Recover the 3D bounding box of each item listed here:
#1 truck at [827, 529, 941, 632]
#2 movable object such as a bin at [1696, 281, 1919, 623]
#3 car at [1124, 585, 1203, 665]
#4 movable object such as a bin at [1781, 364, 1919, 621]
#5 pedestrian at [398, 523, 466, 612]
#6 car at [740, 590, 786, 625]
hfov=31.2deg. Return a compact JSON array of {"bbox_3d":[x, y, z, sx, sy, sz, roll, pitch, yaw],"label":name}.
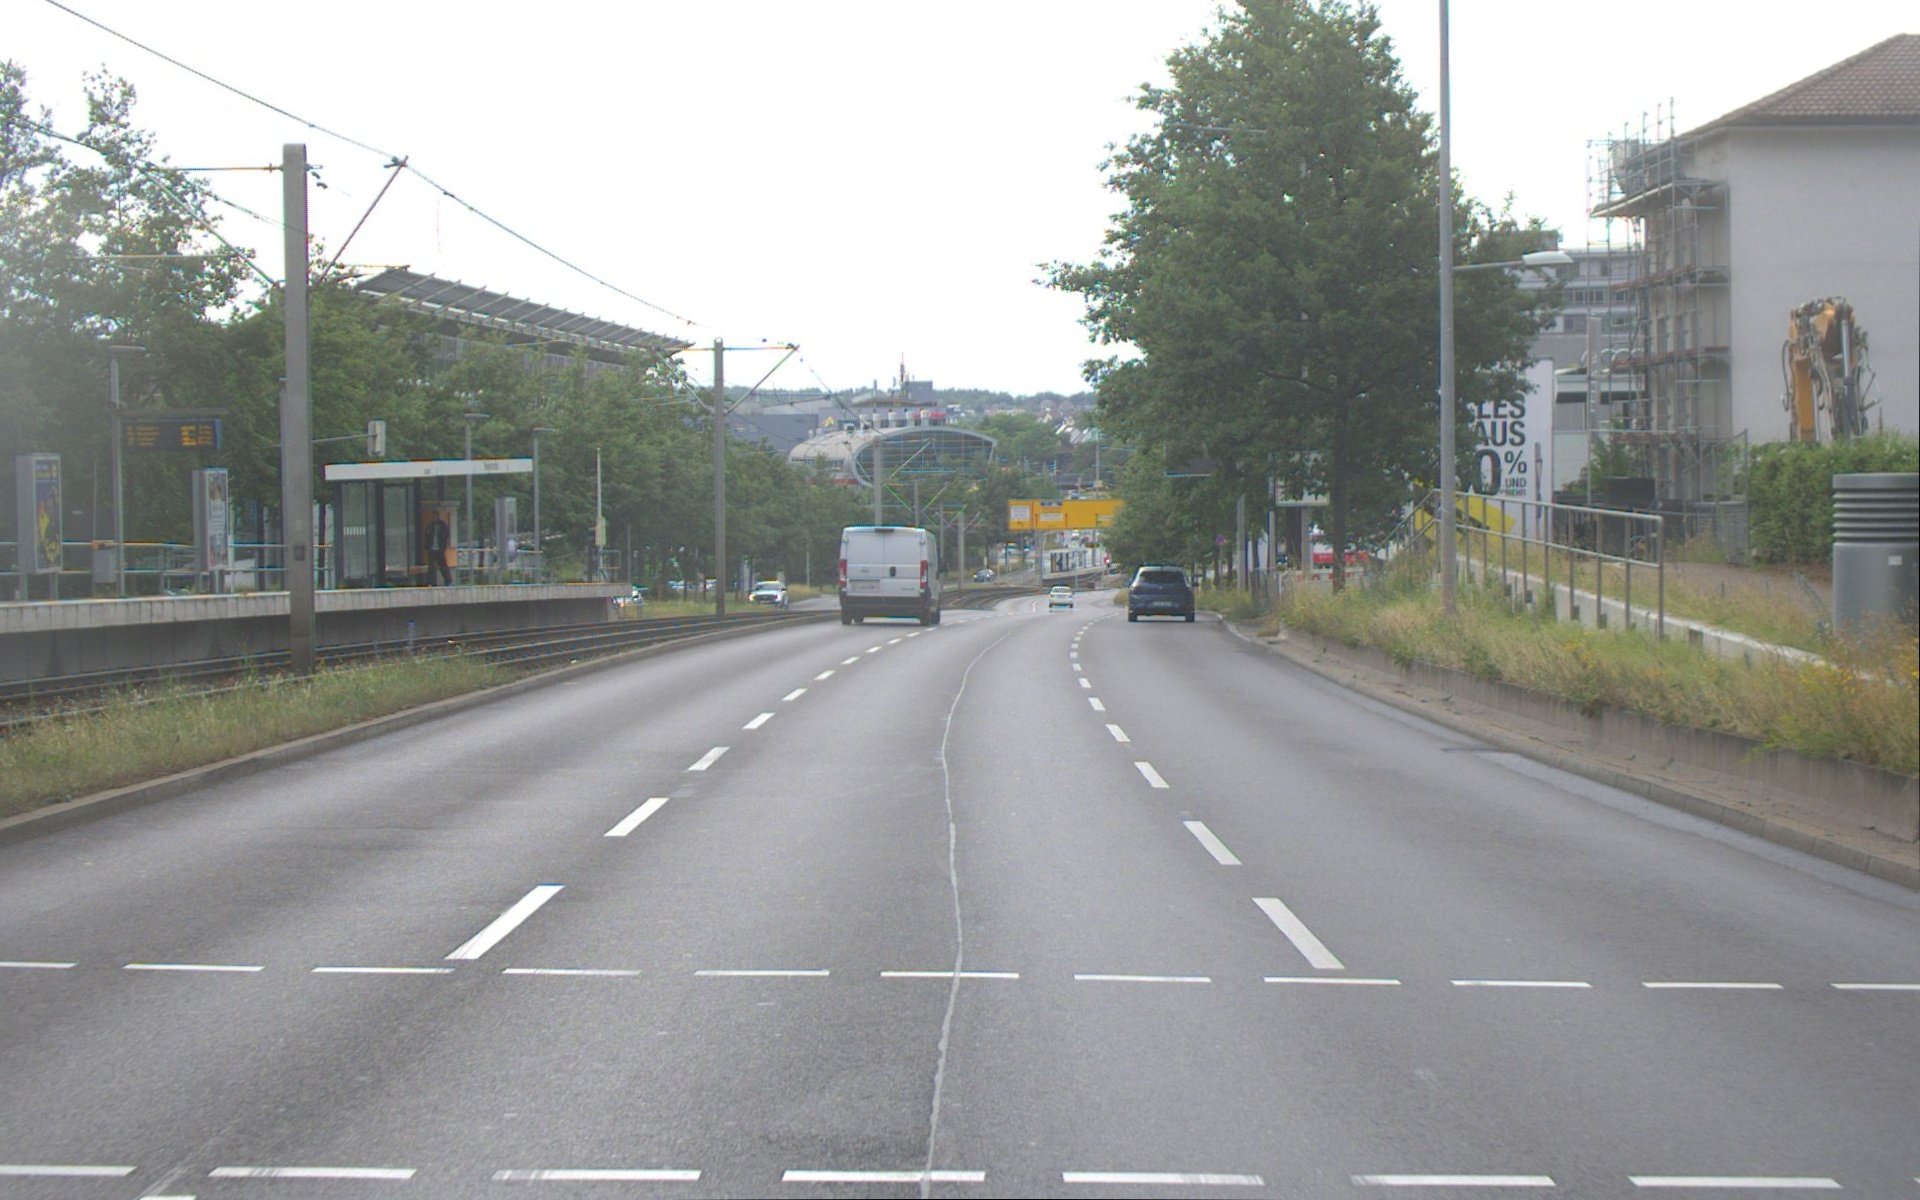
[{"bbox_3d":[-1.714,-0.423,79.637,2.360,2.254,5.305,1,0,1],"label":"truck"},{"bbox_3d":[15.669,-2.451,61.789,3.290,5.665,8.762,1,0,3],"label":"movable object such as a bin"},{"bbox_3d":[5.379,0.659,91.173,1.994,2.007,3.934,1,0,3],"label":"car"},{"bbox_3d":[23.881,-2.264,72.533,12.141,5.243,3.789,-1,0,1],"label":"movable object such as a bin"},{"bbox_3d":[-12.172,-0.733,79.300,1.266,2.007,1.130,1,0,5],"label":"pedestrian"},{"bbox_3d":[-11.100,0.407,194.100,1.994,1.840,5.001,-1,0,3],"label":"car"}]
